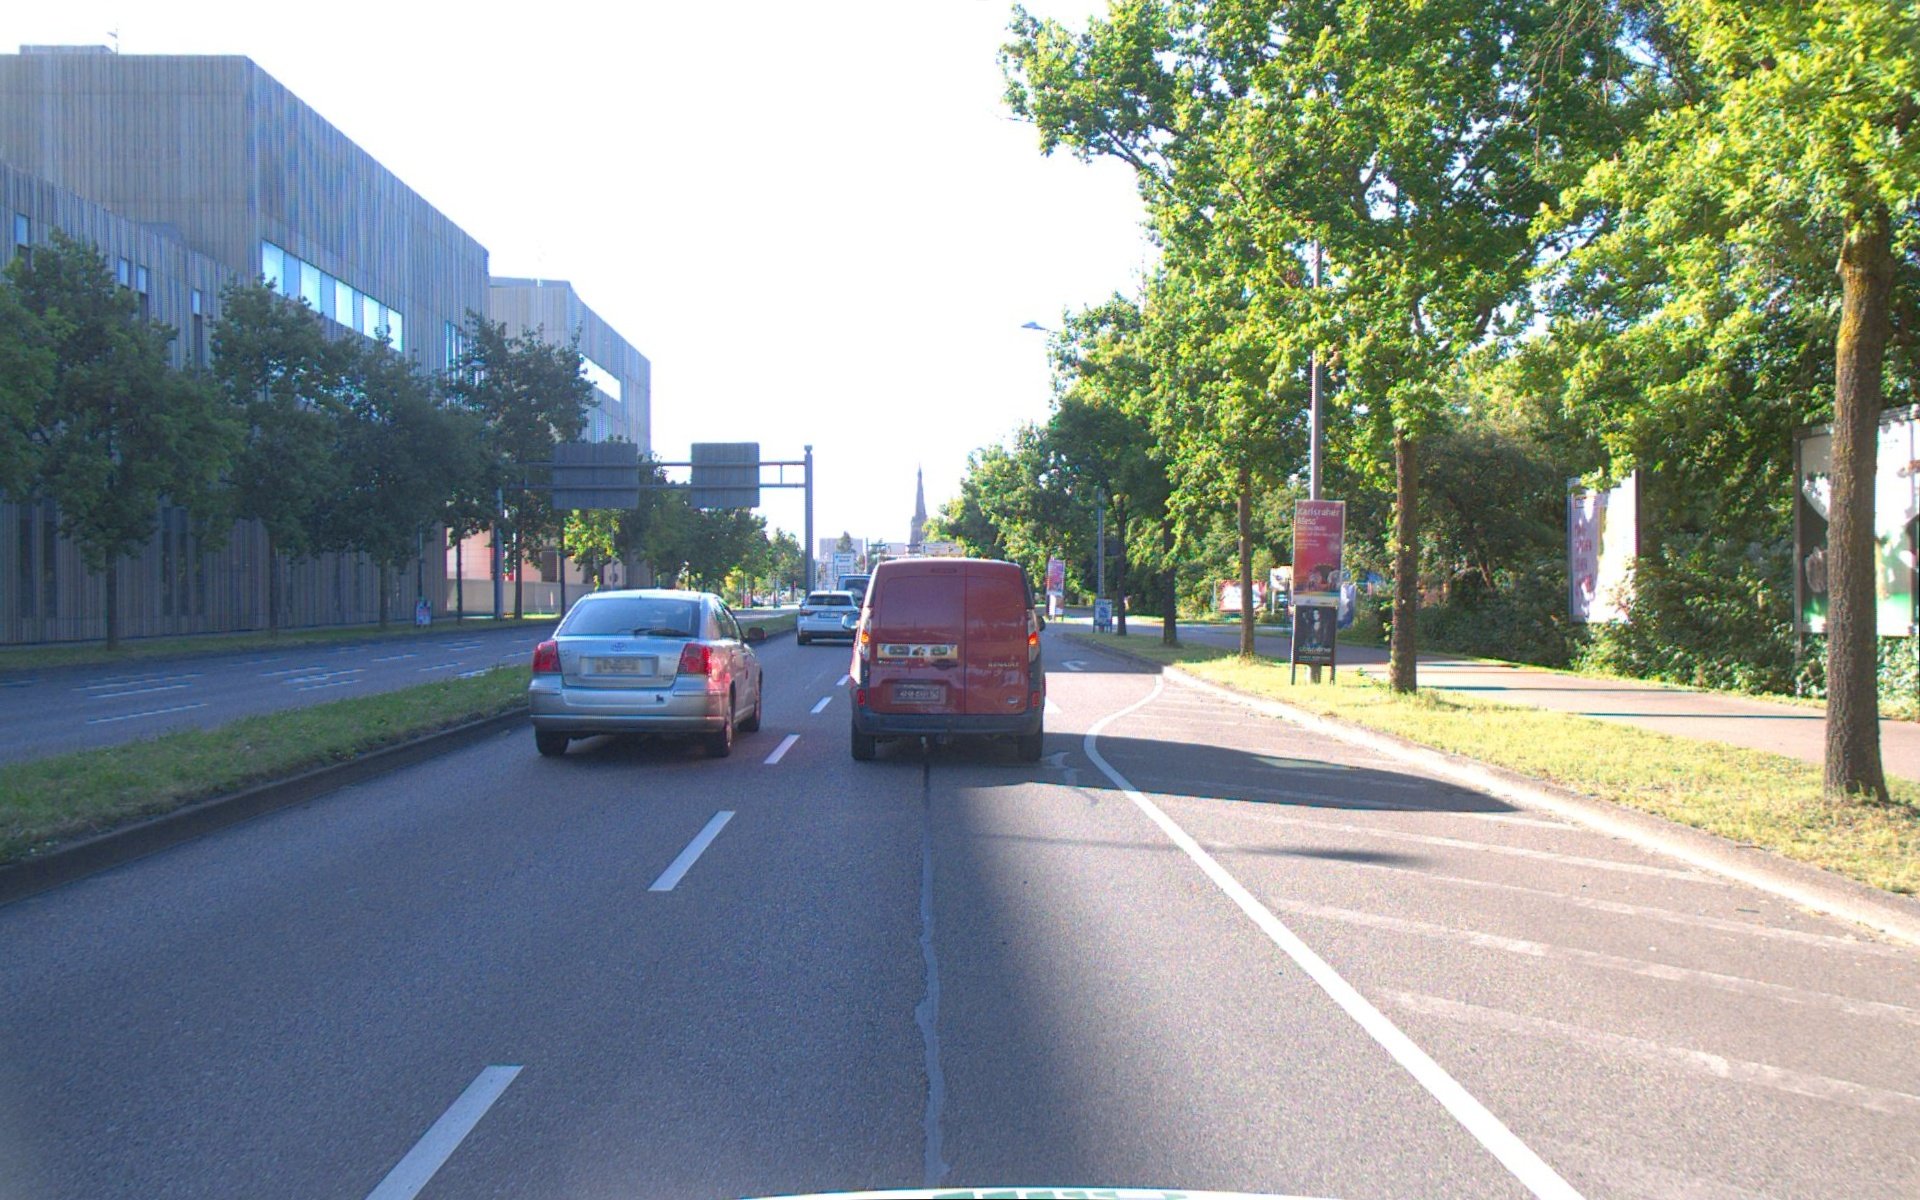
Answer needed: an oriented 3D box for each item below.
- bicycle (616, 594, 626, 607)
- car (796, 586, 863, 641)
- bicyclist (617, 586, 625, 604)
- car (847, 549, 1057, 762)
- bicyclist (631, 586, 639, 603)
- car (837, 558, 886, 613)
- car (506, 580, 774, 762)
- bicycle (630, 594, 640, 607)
[{"bbox_3d":[-27.925,0.055,136.258,0.477,1.021,2.095,0,0,-2],"label":"bicycle"},{"bbox_3d":[-3.491,0.349,44.722,1.628,1.422,3.557,0,0,-2],"label":"car"},{"bbox_3d":[-27.931,-0.413,136.349,0.472,1.419,0.844,0,-1,-3],"label":"bicyclist"},{"bbox_3d":[-0.126,0.468,16.086,1.770,1.790,4.004,1,0,-2],"label":"car"},{"bbox_3d":[-26.682,-0.473,135.701,0.551,1.417,0.747,0,-1,-3],"label":"bicyclist"},{"bbox_3d":[-3.450,-0.499,58.498,1.628,1.889,3.557,0,0,-2],"label":"car"},{"bbox_3d":[-2.885,0.583,15.808,1.803,1.482,4.161,1,0,-1],"label":"car"},{"bbox_3d":[-26.681,0.052,135.784,0.558,1.021,2.095,0,0,-2],"label":"bicycle"}]
